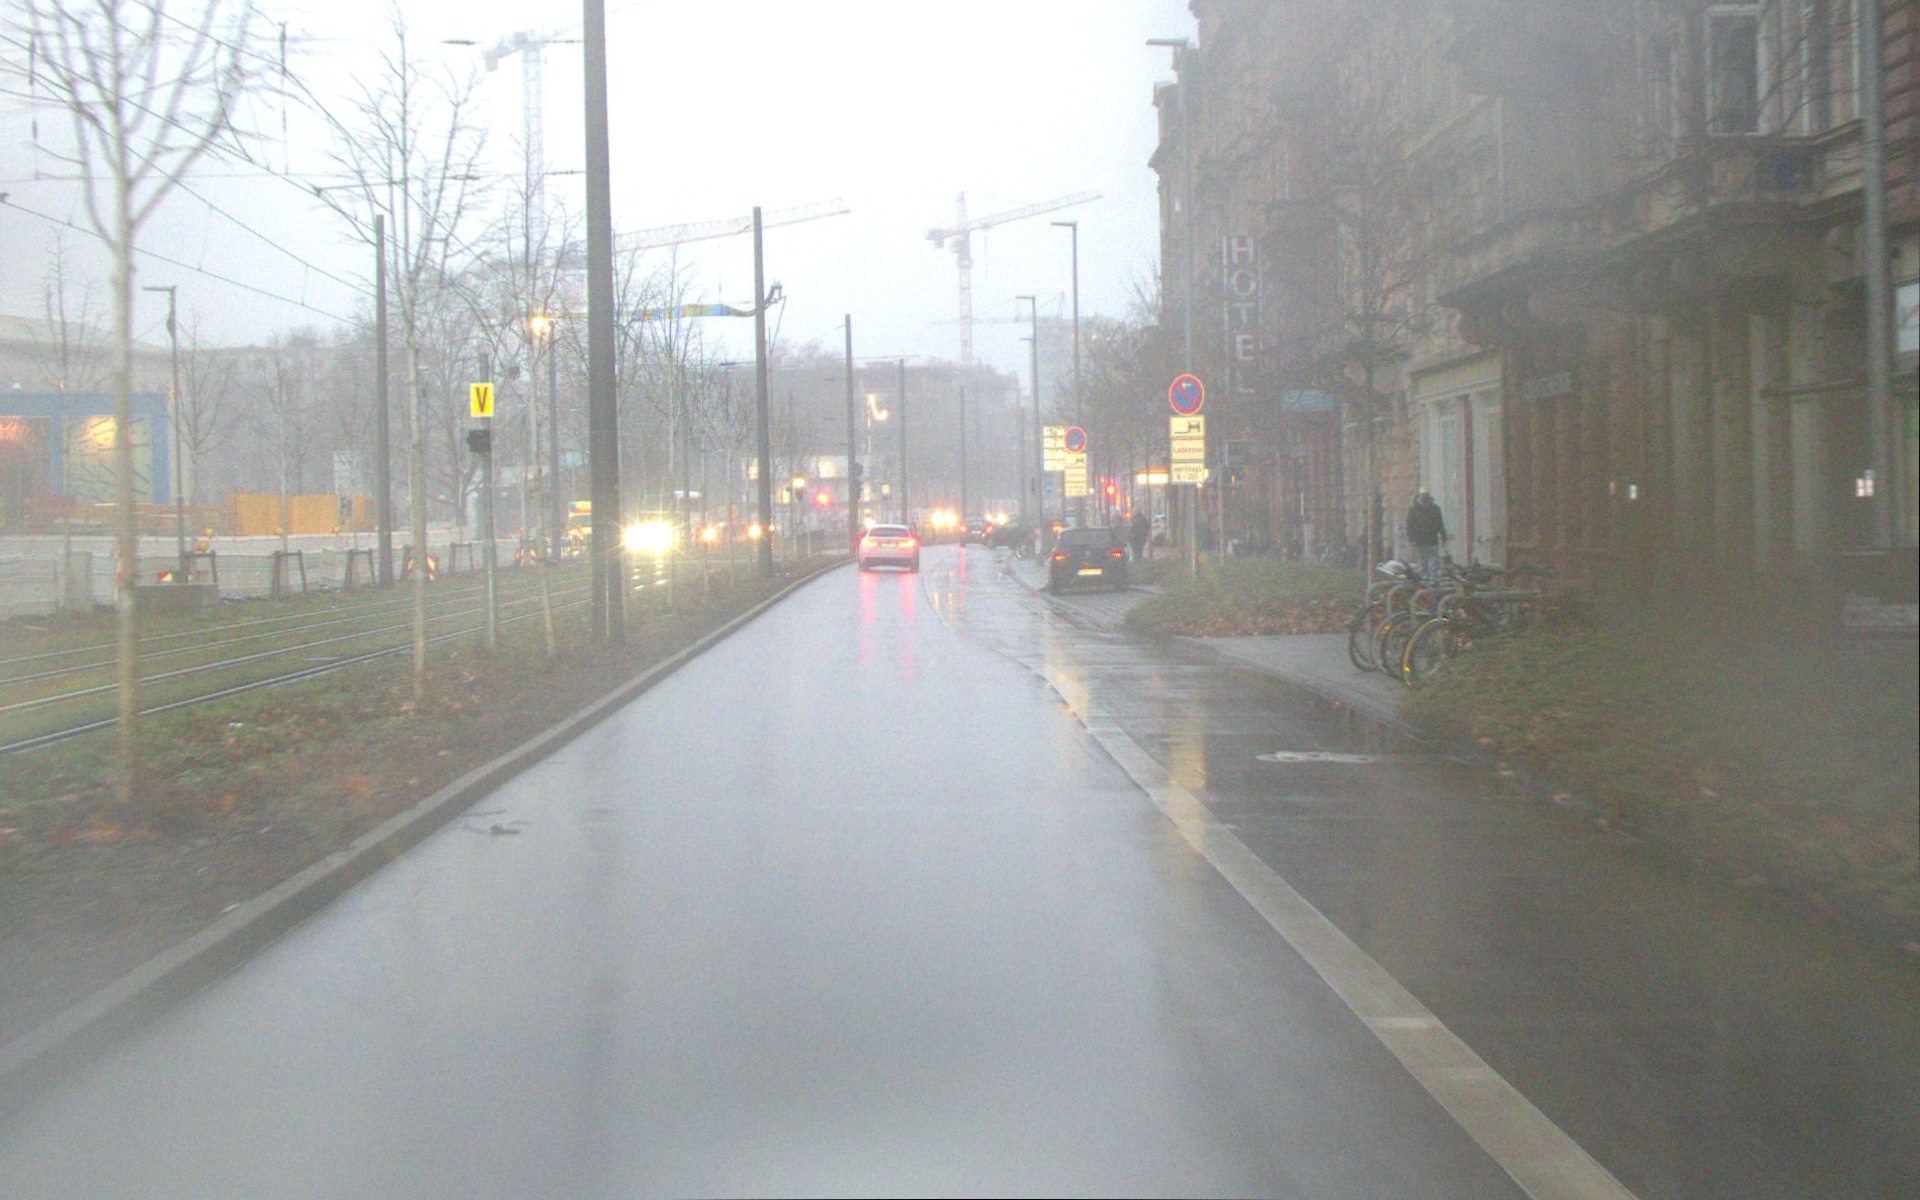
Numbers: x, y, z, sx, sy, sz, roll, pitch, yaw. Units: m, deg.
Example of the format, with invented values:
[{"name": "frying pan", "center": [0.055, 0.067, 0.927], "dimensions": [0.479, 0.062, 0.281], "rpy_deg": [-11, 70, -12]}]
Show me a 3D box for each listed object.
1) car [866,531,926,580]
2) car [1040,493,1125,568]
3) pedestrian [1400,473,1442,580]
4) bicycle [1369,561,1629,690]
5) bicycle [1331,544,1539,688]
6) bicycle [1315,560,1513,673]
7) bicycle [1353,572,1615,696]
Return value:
[{"name": "car", "center": [-2.001, -1.418, 108.439], "dimensions": [1.784, 1.462, 3.148], "rpy_deg": [-1, 1, 1]}, {"name": "car", "center": [2.693, -1.551, 76.225], "dimensions": [1.799, 1.598, 3.770], "rpy_deg": [-1, 1, 1]}, {"name": "pedestrian", "center": [7.779, -1.237, 58.045], "dimensions": [0.603, 1.779, 0.528], "rpy_deg": [-1, 1, -1]}, {"name": "bicycle", "center": [4.659, 0.215, 29.751], "dimensions": [2.146, 1.053, 0.526], "rpy_deg": [-1, 1, -6]}, {"name": "bicycle", "center": [4.427, 0.144, 32.083], "dimensions": [1.851, 1.285, 0.415], "rpy_deg": [-1, 1, -3]}, {"name": "bicycle", "center": [4.436, 0.160, 33.647], "dimensions": [1.851, 1.054, 0.471], "rpy_deg": [-1, 1, -3]}, {"name": "bicycle", "center": [4.704, 0.298, 30.914], "dimensions": [2.248, 1.053, 0.526], "rpy_deg": [-1, 1, -3]}]
